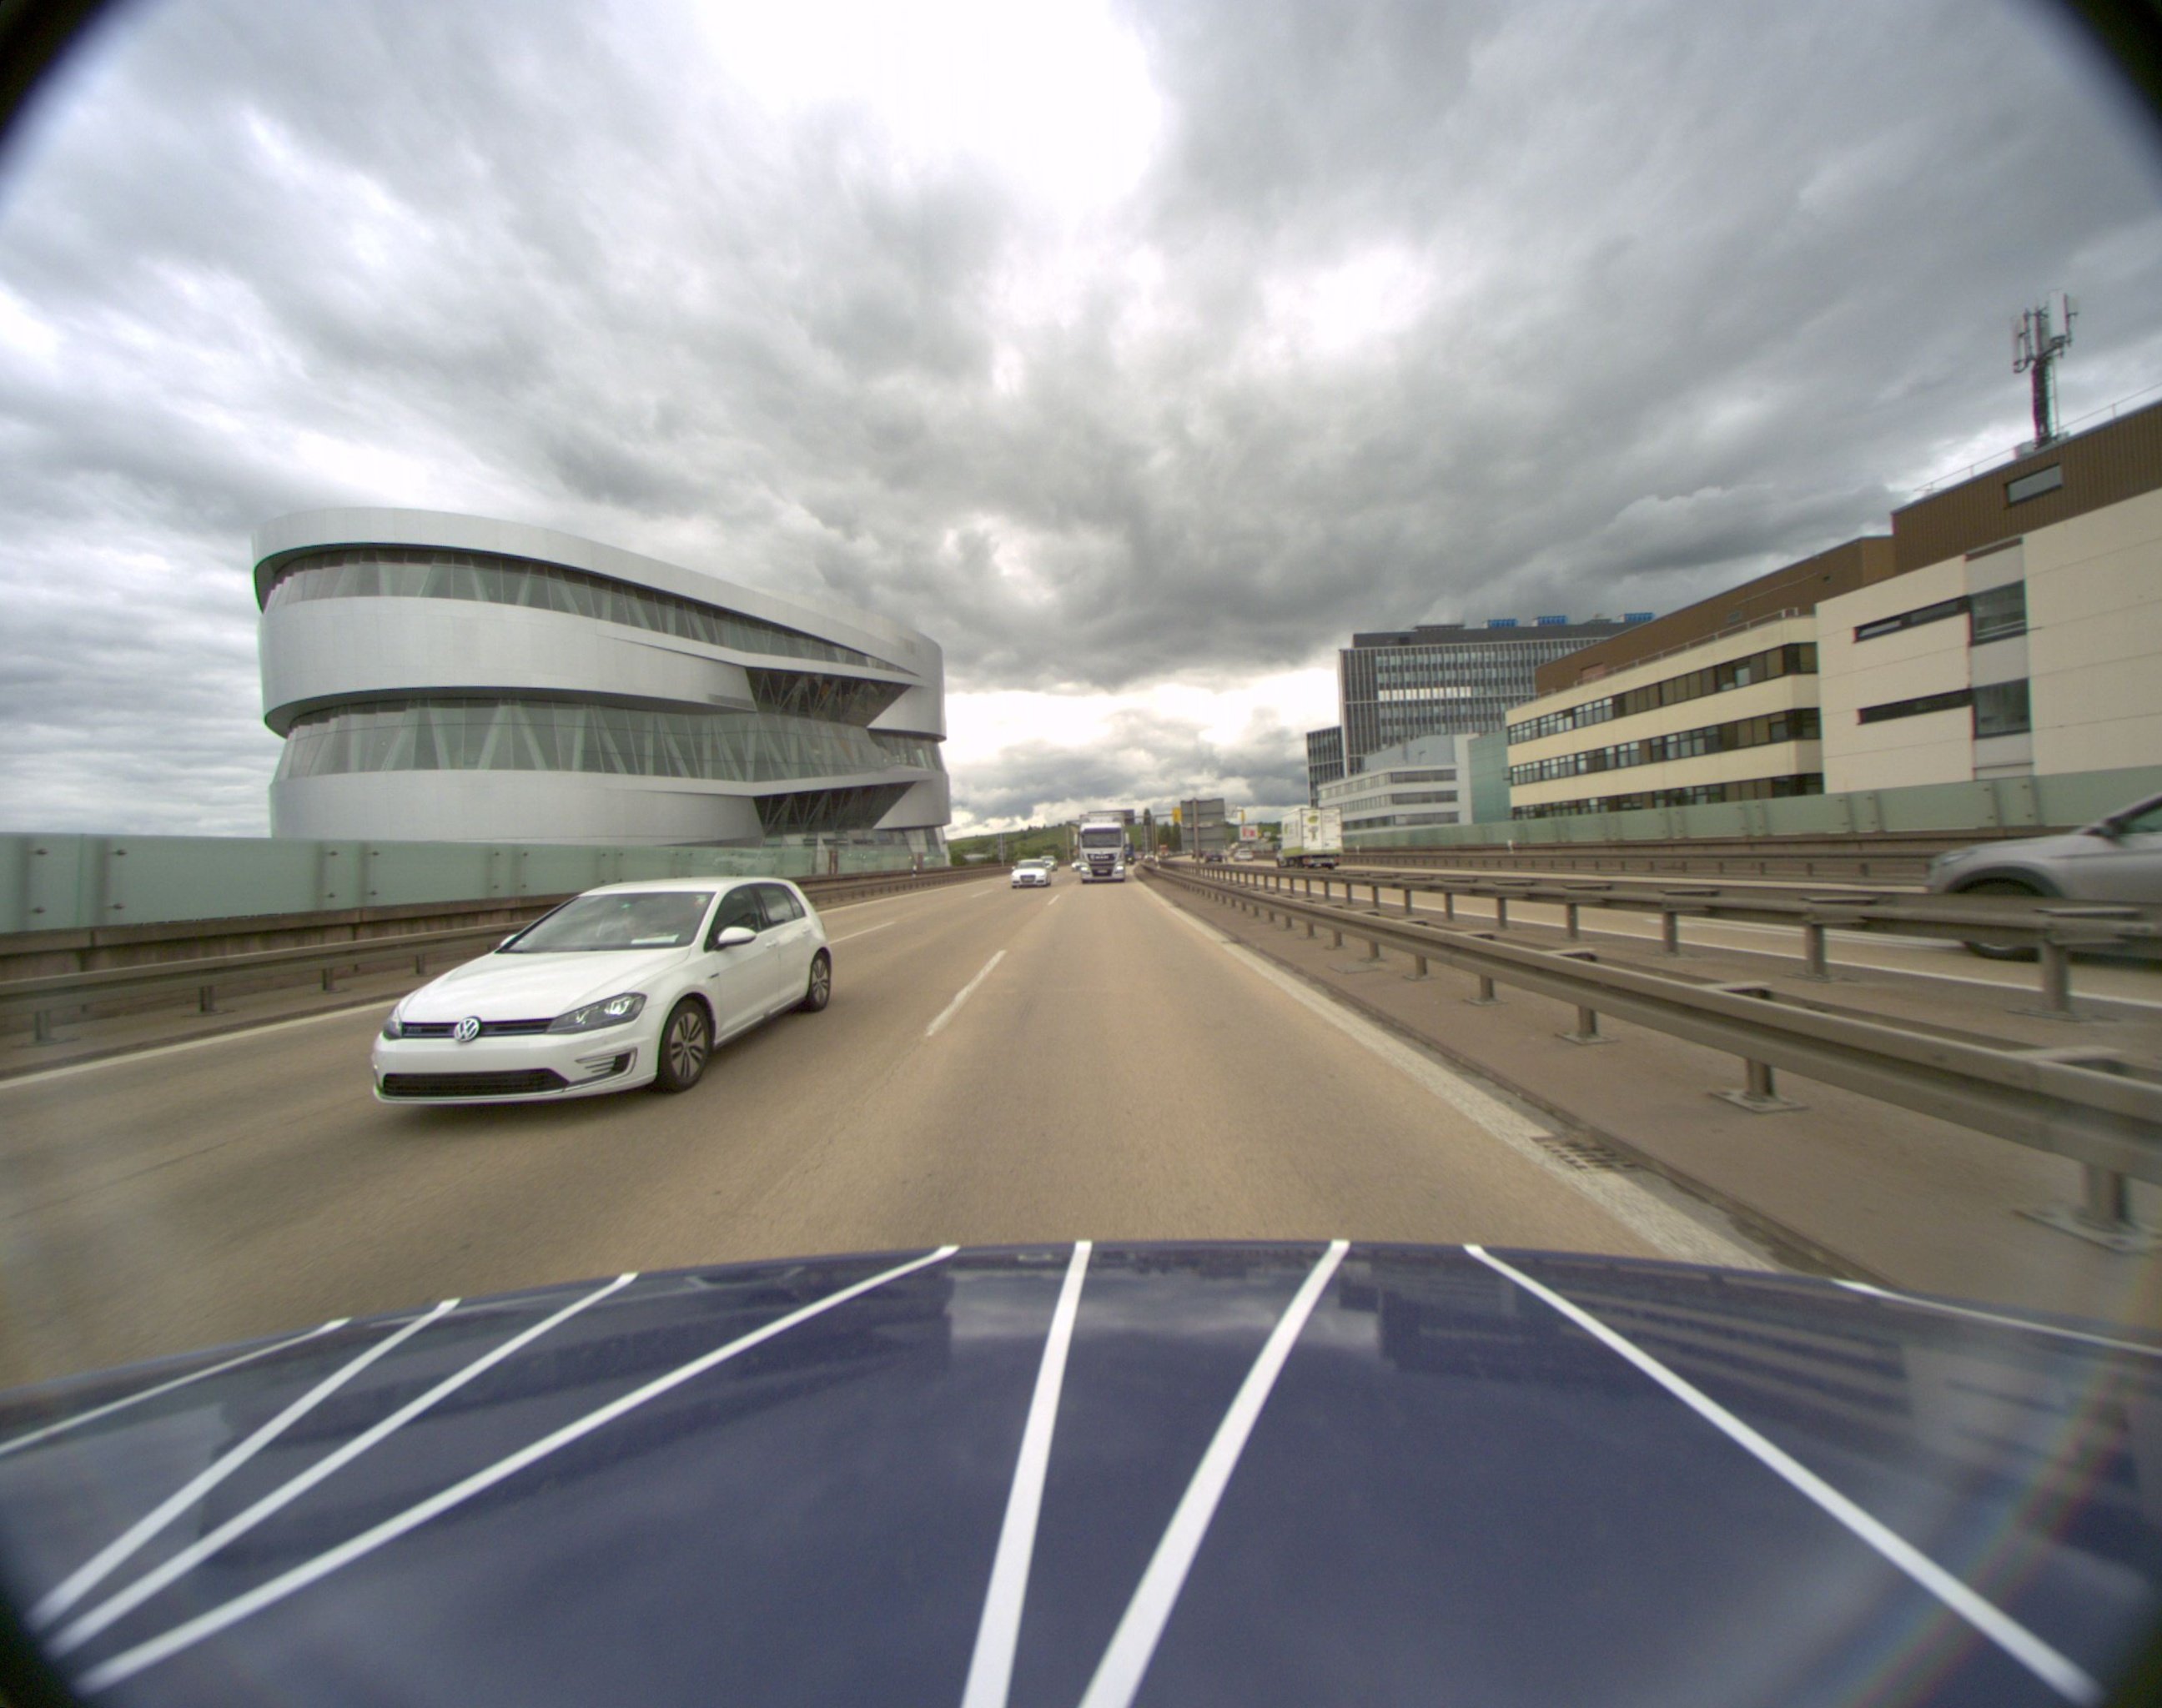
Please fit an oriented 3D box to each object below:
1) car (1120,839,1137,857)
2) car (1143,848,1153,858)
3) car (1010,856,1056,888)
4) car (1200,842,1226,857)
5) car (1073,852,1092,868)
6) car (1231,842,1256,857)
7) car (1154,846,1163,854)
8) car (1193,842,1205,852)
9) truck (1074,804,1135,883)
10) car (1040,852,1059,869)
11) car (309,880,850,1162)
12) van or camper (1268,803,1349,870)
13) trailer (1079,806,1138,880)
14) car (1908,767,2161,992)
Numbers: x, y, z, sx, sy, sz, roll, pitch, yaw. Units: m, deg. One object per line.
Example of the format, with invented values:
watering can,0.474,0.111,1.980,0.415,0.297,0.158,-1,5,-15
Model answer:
car,6.691,-0.844,106.773,2.144,2.494,4.524,-2,1,2
car,14.457,-0.263,163.283,1.998,2.002,4.001,-2,1,4
car,-2.419,0.889,39.412,1.848,1.443,3.933,-2,0,3
car,14.739,-0.454,84.980,2.027,1.602,4.813,-2,0,-1
car,0.165,0.602,79.160,1.765,1.624,3.627,-2,1,1
car,18.632,-0.532,87.338,1.922,1.602,4.814,-2,0,2
car,19.716,-1.027,192.584,1.997,2.002,4.002,-2,1,9
car,19.984,-1.141,128.547,1.757,1.609,4.817,-2,0,10
truck,1.473,-0.595,43.807,2.945,4.136,6.293,-2,1,6
car,-3.384,0.676,81.732,1.785,1.624,3.627,-2,1,1
car,-3.524,1.038,6.428,1.759,1.443,4.072,-2,0,1
van or camper,12.602,-0.961,42.723,2.411,3.368,6.953,-2,1,0
trailer,2.006,-0.696,49.026,2.879,4.104,11.224,-2,0,6
car,8.923,0.154,5.091,1.849,1.663,4.406,-2,0,-2
